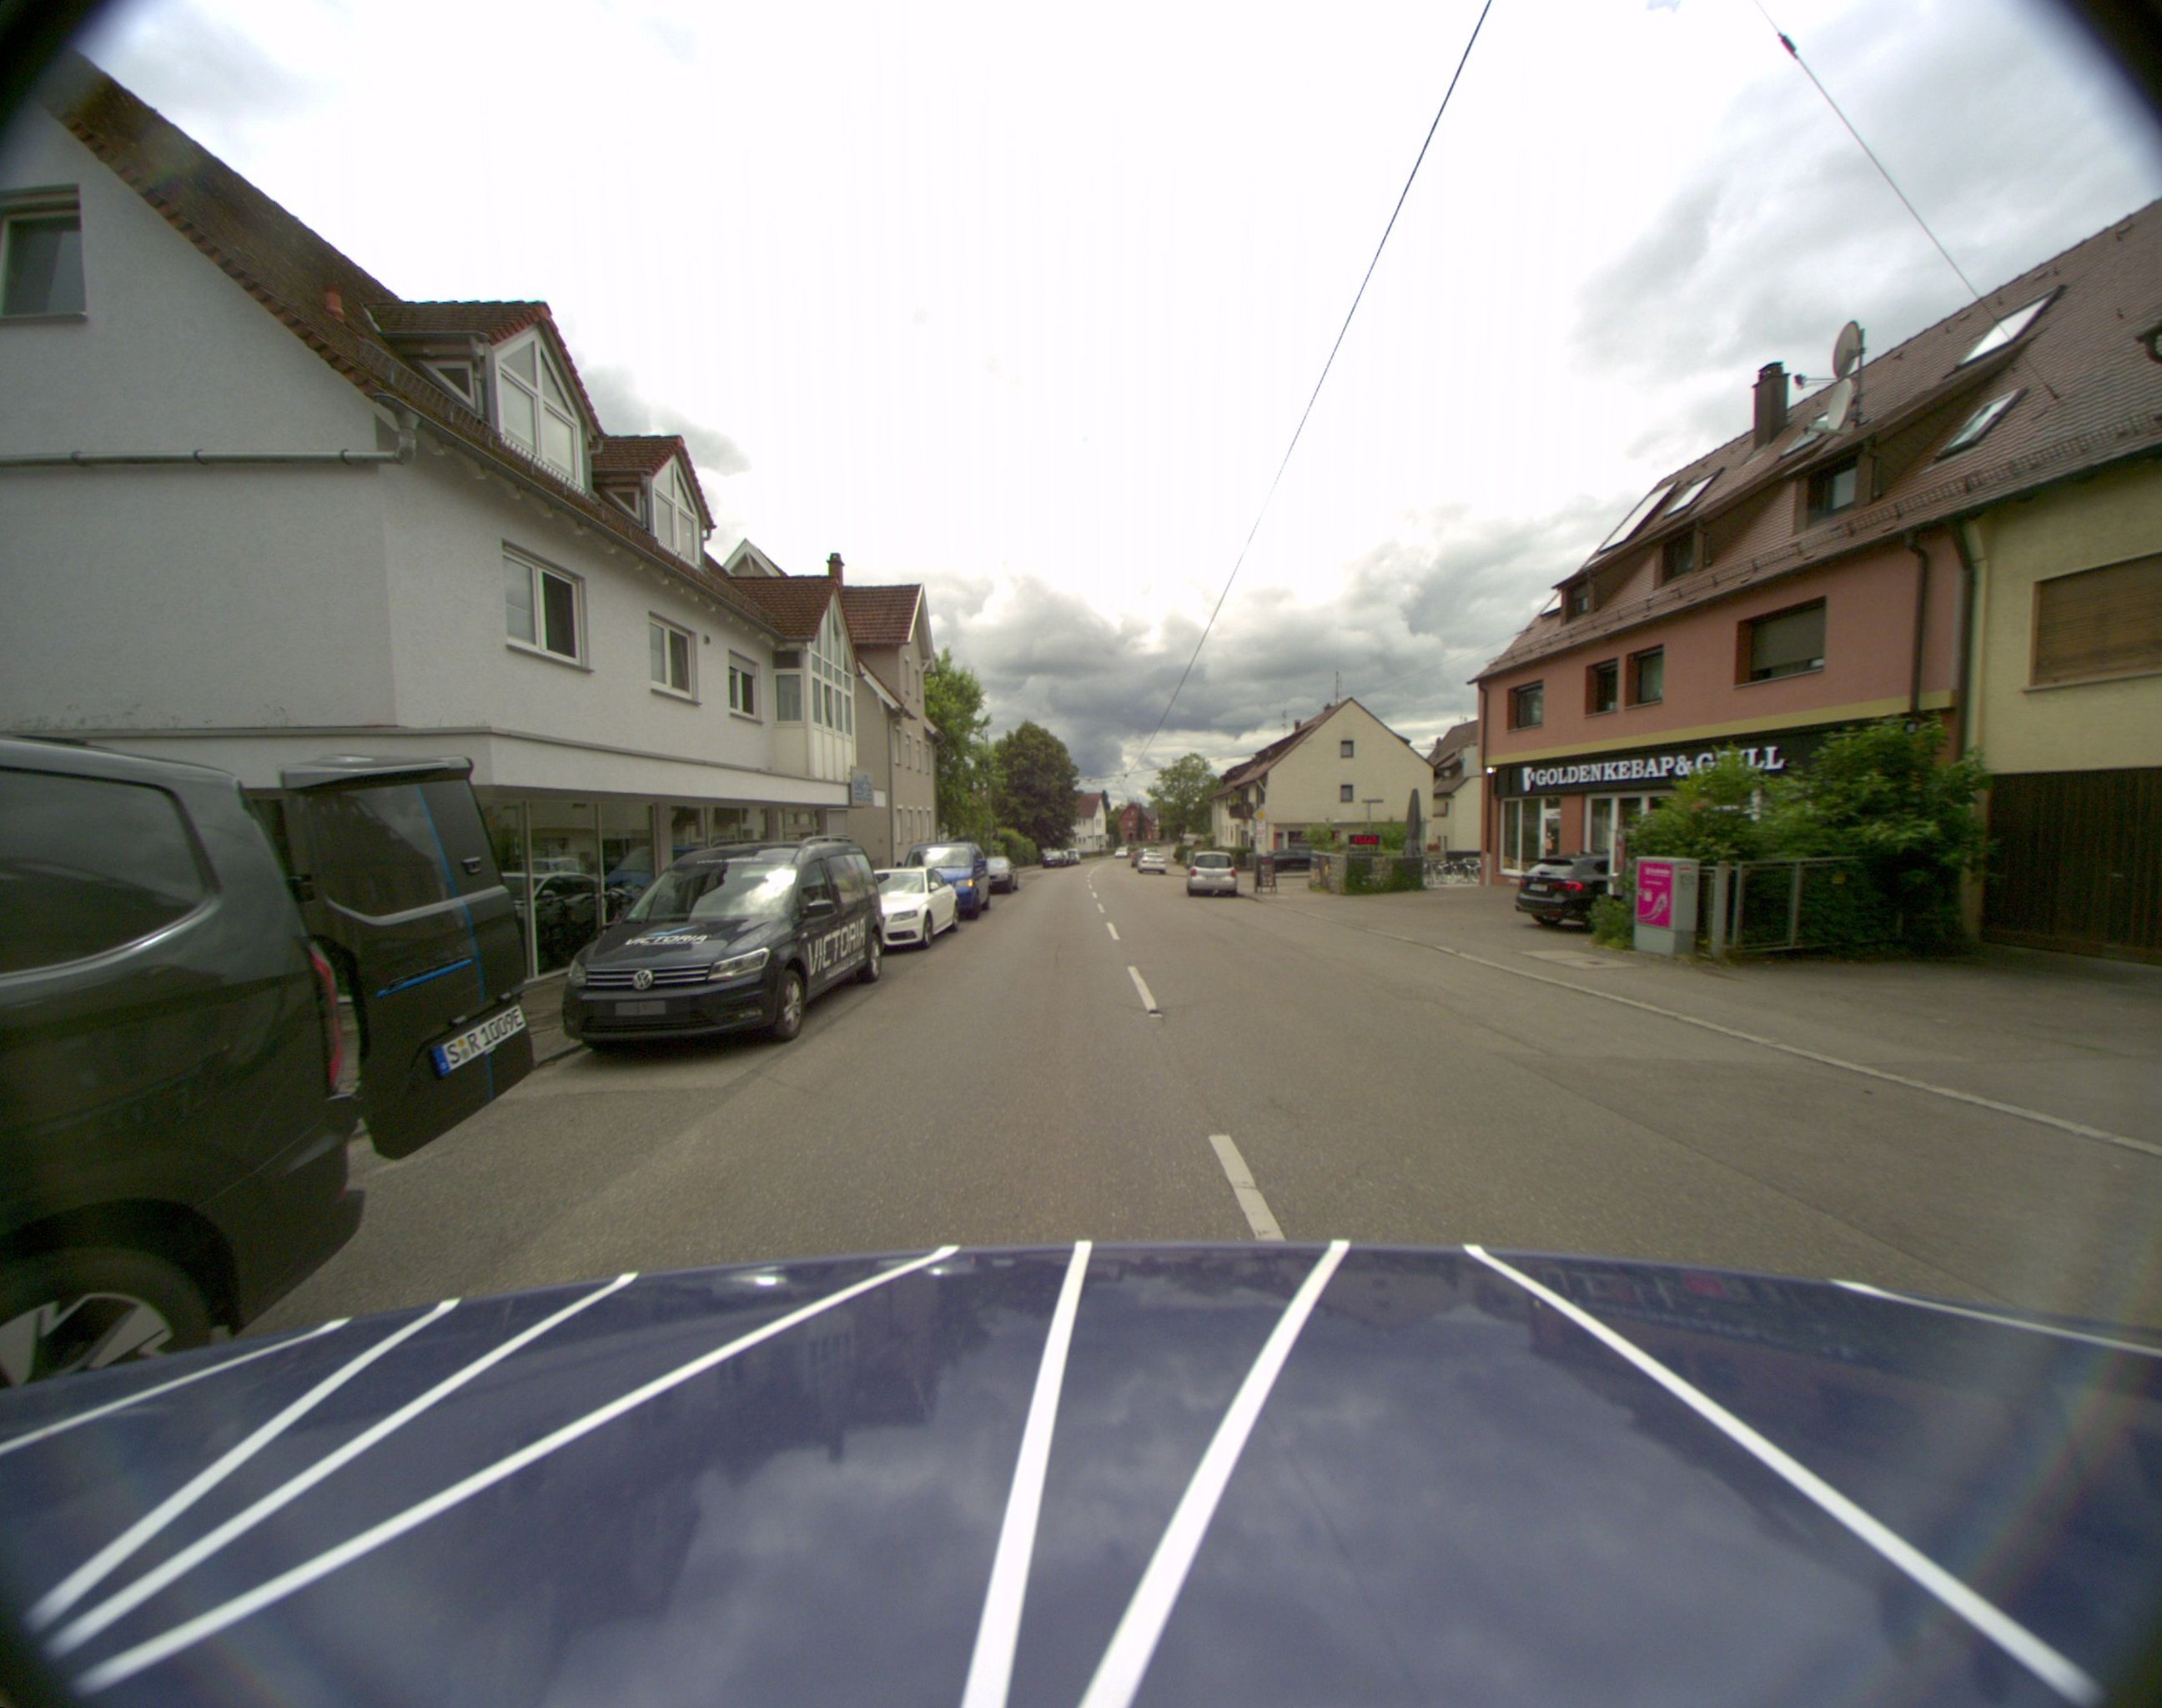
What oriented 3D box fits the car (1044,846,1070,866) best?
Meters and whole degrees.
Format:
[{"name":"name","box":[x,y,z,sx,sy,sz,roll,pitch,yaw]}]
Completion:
[{"name":"car","box":[-2.140,0.180,67.937,1.815,1.606,4.539,-2,1,4]}]

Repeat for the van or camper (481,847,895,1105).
[{"name":"van or camper","box":[-3.485,0.884,7.989,1.876,1.818,4.679,-3,1,-1]}]

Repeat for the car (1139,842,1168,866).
[{"name":"car","box":[4.997,-0.022,52.625,1.730,1.450,3.898,3,2,2]}]

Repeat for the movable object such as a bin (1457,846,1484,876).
[{"name":"movable object such as a bin","box":[14.968,0.267,29.197,0.572,1.103,0.977,-1,1,4]}]

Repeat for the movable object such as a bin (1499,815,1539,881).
[{"name":"movable object such as a bin","box":[16.860,-0.239,29.309,1.281,2.443,1.641,0,1,28]}]

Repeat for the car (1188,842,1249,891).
[{"name":"car","box":[4.894,0.403,27.501,1.837,1.569,4.033,3,1,6]}]

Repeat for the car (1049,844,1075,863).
[{"name":"car","box":[-1.822,-0.066,74.304,1.998,1.606,4.539,-2,1,4]}]

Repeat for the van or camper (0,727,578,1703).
[{"name":"van or camper","box":[-3.298,0.819,0.429,1.999,2.054,5.943,-3,1,-1]}]

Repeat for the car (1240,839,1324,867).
[{"name":"car","box":[11.905,-0.077,45.222,4.528,1.464,2.000,-2,1,5]}]

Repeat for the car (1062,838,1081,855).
[{"name":"car","box":[-1.096,-0.836,86.601,1.842,1.764,4.317,-3,1,3]}]

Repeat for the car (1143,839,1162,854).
[{"name":"car","box":[8.719,-0.971,92.315,1.853,1.704,4.577,1,2,10]}]

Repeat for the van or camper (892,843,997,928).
[{"name":"van or camper","box":[-3.421,0.692,20.048,1.931,1.914,4.829,-2,1,-1]}]

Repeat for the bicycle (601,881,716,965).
[{"name":"bicycle","box":[-6.270,0.997,11.367,0.297,1.107,1.579,1,1,30]}]

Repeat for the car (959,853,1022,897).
[{"name":"car","box":[-3.607,0.781,31.104,1.999,1.509,4.890,-2,1,-1]}]

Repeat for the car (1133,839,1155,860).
[{"name":"car","box":[5.704,-0.435,68.878,1.851,1.671,4.787,3,2,4]}]

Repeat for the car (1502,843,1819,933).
[{"name":"car","box":[10.404,0.563,13.934,4.240,1.464,1.999,0,2,0]}]

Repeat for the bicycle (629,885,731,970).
[{"name":"bicycle","box":[-6.283,1.127,11.984,0.250,1.154,1.469,1,3,31]}]

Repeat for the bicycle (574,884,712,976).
[{"name":"bicycle","box":[-6.144,1.021,10.764,0.437,1.107,1.729,1,1,27]}]

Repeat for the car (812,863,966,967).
[{"name":"car","box":[-3.352,0.986,14.221,1.718,1.427,4.638,-3,1,-1]}]

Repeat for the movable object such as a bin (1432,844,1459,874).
[{"name":"movable object such as a bin","box":[13.880,0.189,28.968,0.572,1.103,0.977,-2,1,4]}]
